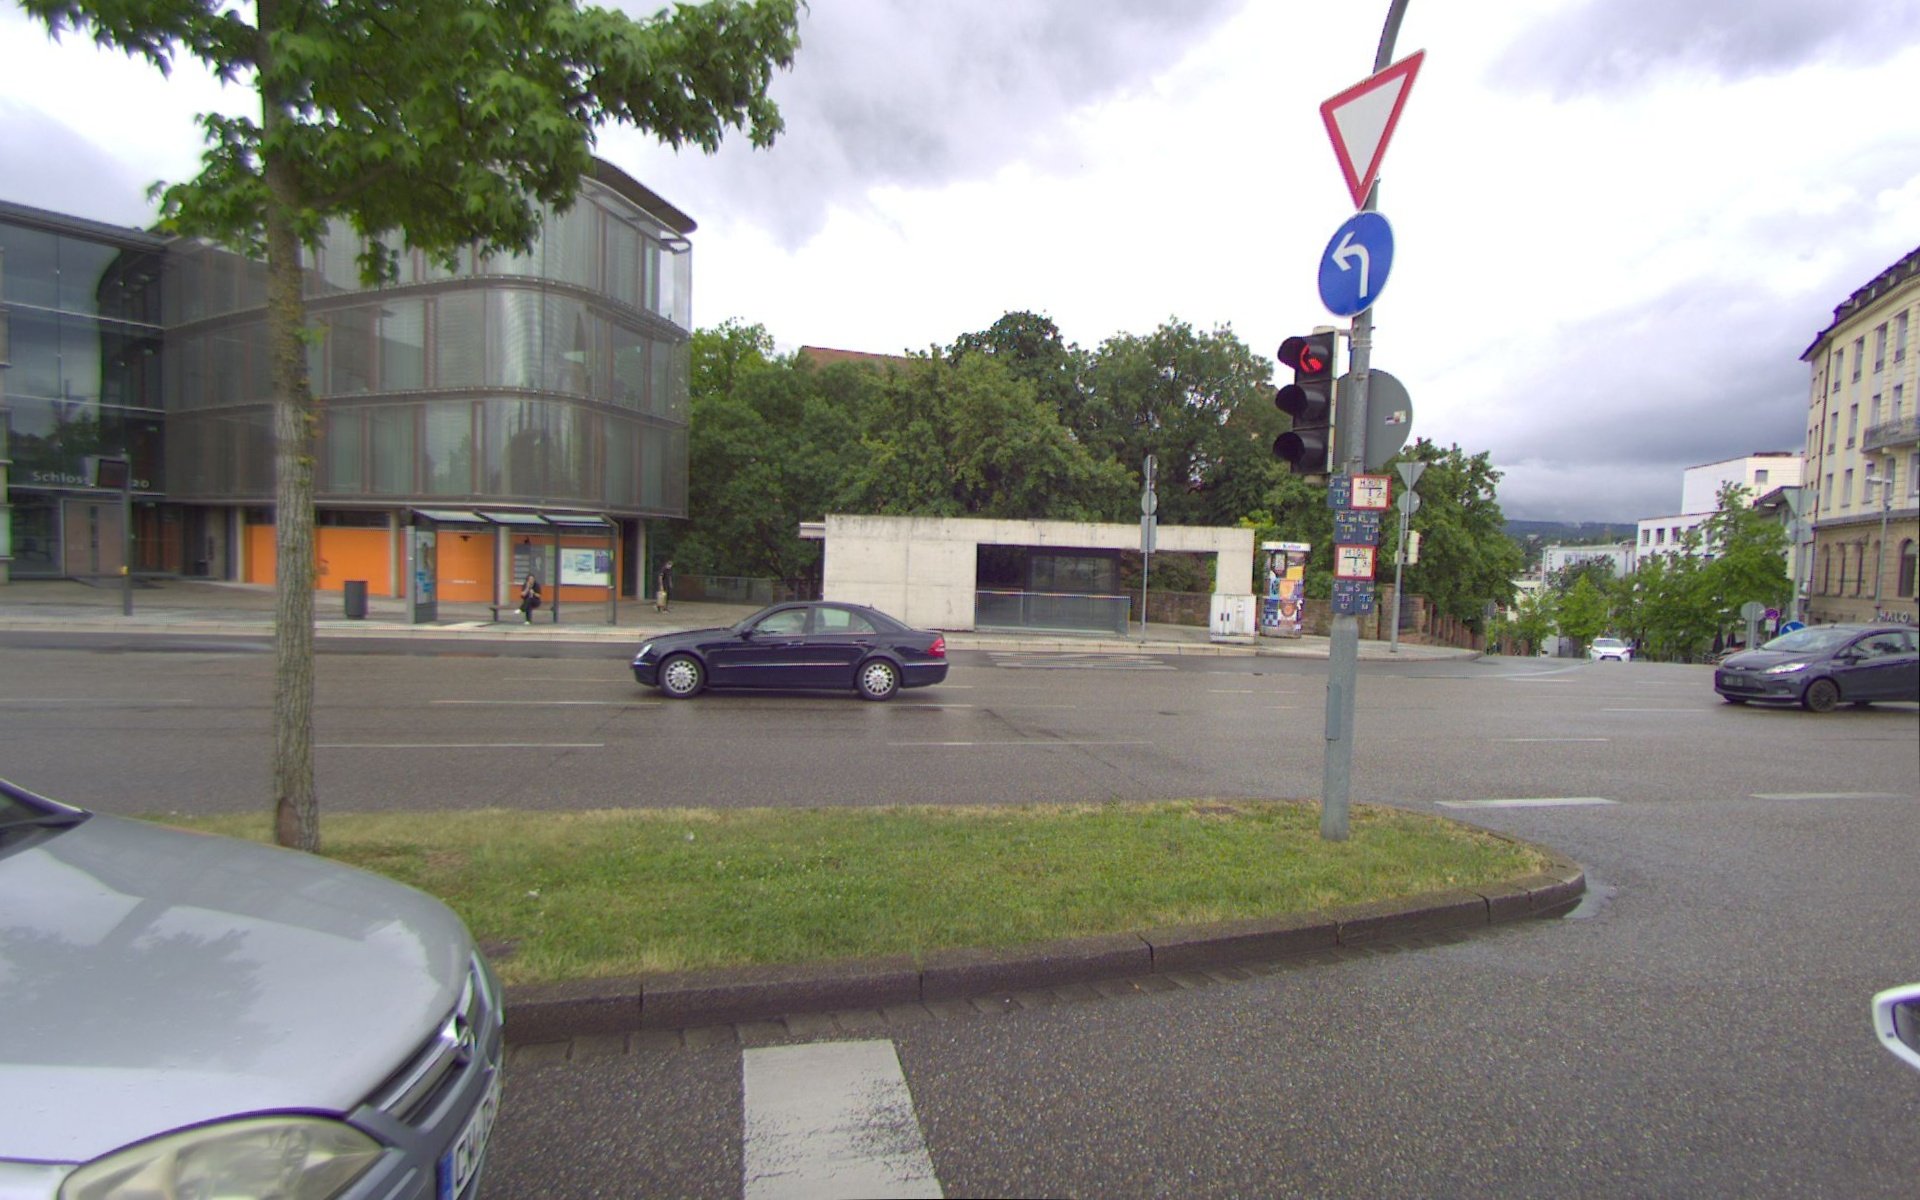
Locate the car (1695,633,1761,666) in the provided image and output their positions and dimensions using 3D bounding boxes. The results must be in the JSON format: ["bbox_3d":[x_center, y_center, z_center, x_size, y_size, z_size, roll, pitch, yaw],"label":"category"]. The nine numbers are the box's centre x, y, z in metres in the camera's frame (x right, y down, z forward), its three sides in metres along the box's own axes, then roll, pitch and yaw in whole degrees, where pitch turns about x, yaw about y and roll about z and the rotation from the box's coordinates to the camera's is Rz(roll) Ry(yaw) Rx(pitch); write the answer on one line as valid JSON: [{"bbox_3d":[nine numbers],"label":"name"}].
[{"bbox_3d":[39.115,2.478,51.250,1.736,1.498,4.008,2,0,24],"label":"car"}]

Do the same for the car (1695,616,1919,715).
[{"bbox_3d":[15.033,1.101,17.246,3.793,1.532,1.680,2,0,-9],"label":"car"}]

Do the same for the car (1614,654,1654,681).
[{"bbox_3d":[46.923,4.680,69.954,1.603,1.570,3.648,2,0,23],"label":"car"}]

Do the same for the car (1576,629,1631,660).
[{"bbox_3d":[32.574,2.230,50.931,1.603,1.417,3.998,2,0,23],"label":"car"}]

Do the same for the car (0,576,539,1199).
[{"bbox_3d":[-2.755,0.669,1.473,3.656,1.485,1.696,2,0,-13],"label":"car"}]

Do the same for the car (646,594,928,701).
[{"bbox_3d":[-2.570,0.694,15.320,3.927,1.441,1.959,2,0,-9],"label":"car"}]

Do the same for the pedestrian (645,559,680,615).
[{"bbox_3d":[-9.609,-0.425,32.470,0.809,1.780,0.786,2,2,10],"label":"pedestrian"}]

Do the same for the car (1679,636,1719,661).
[{"bbox_3d":[50.336,3.287,68.477,1.738,1.498,3.993,2,0,30],"label":"car"}]

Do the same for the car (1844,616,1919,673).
[{"bbox_3d":[32.182,1.498,34.660,1.605,1.783,3.993,2,1,28],"label":"car"}]

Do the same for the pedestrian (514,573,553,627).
[{"bbox_3d":[-10.692,0.001,25.202,0.706,1.316,0.668,2,0,-6],"label":"pedestrian"}]
